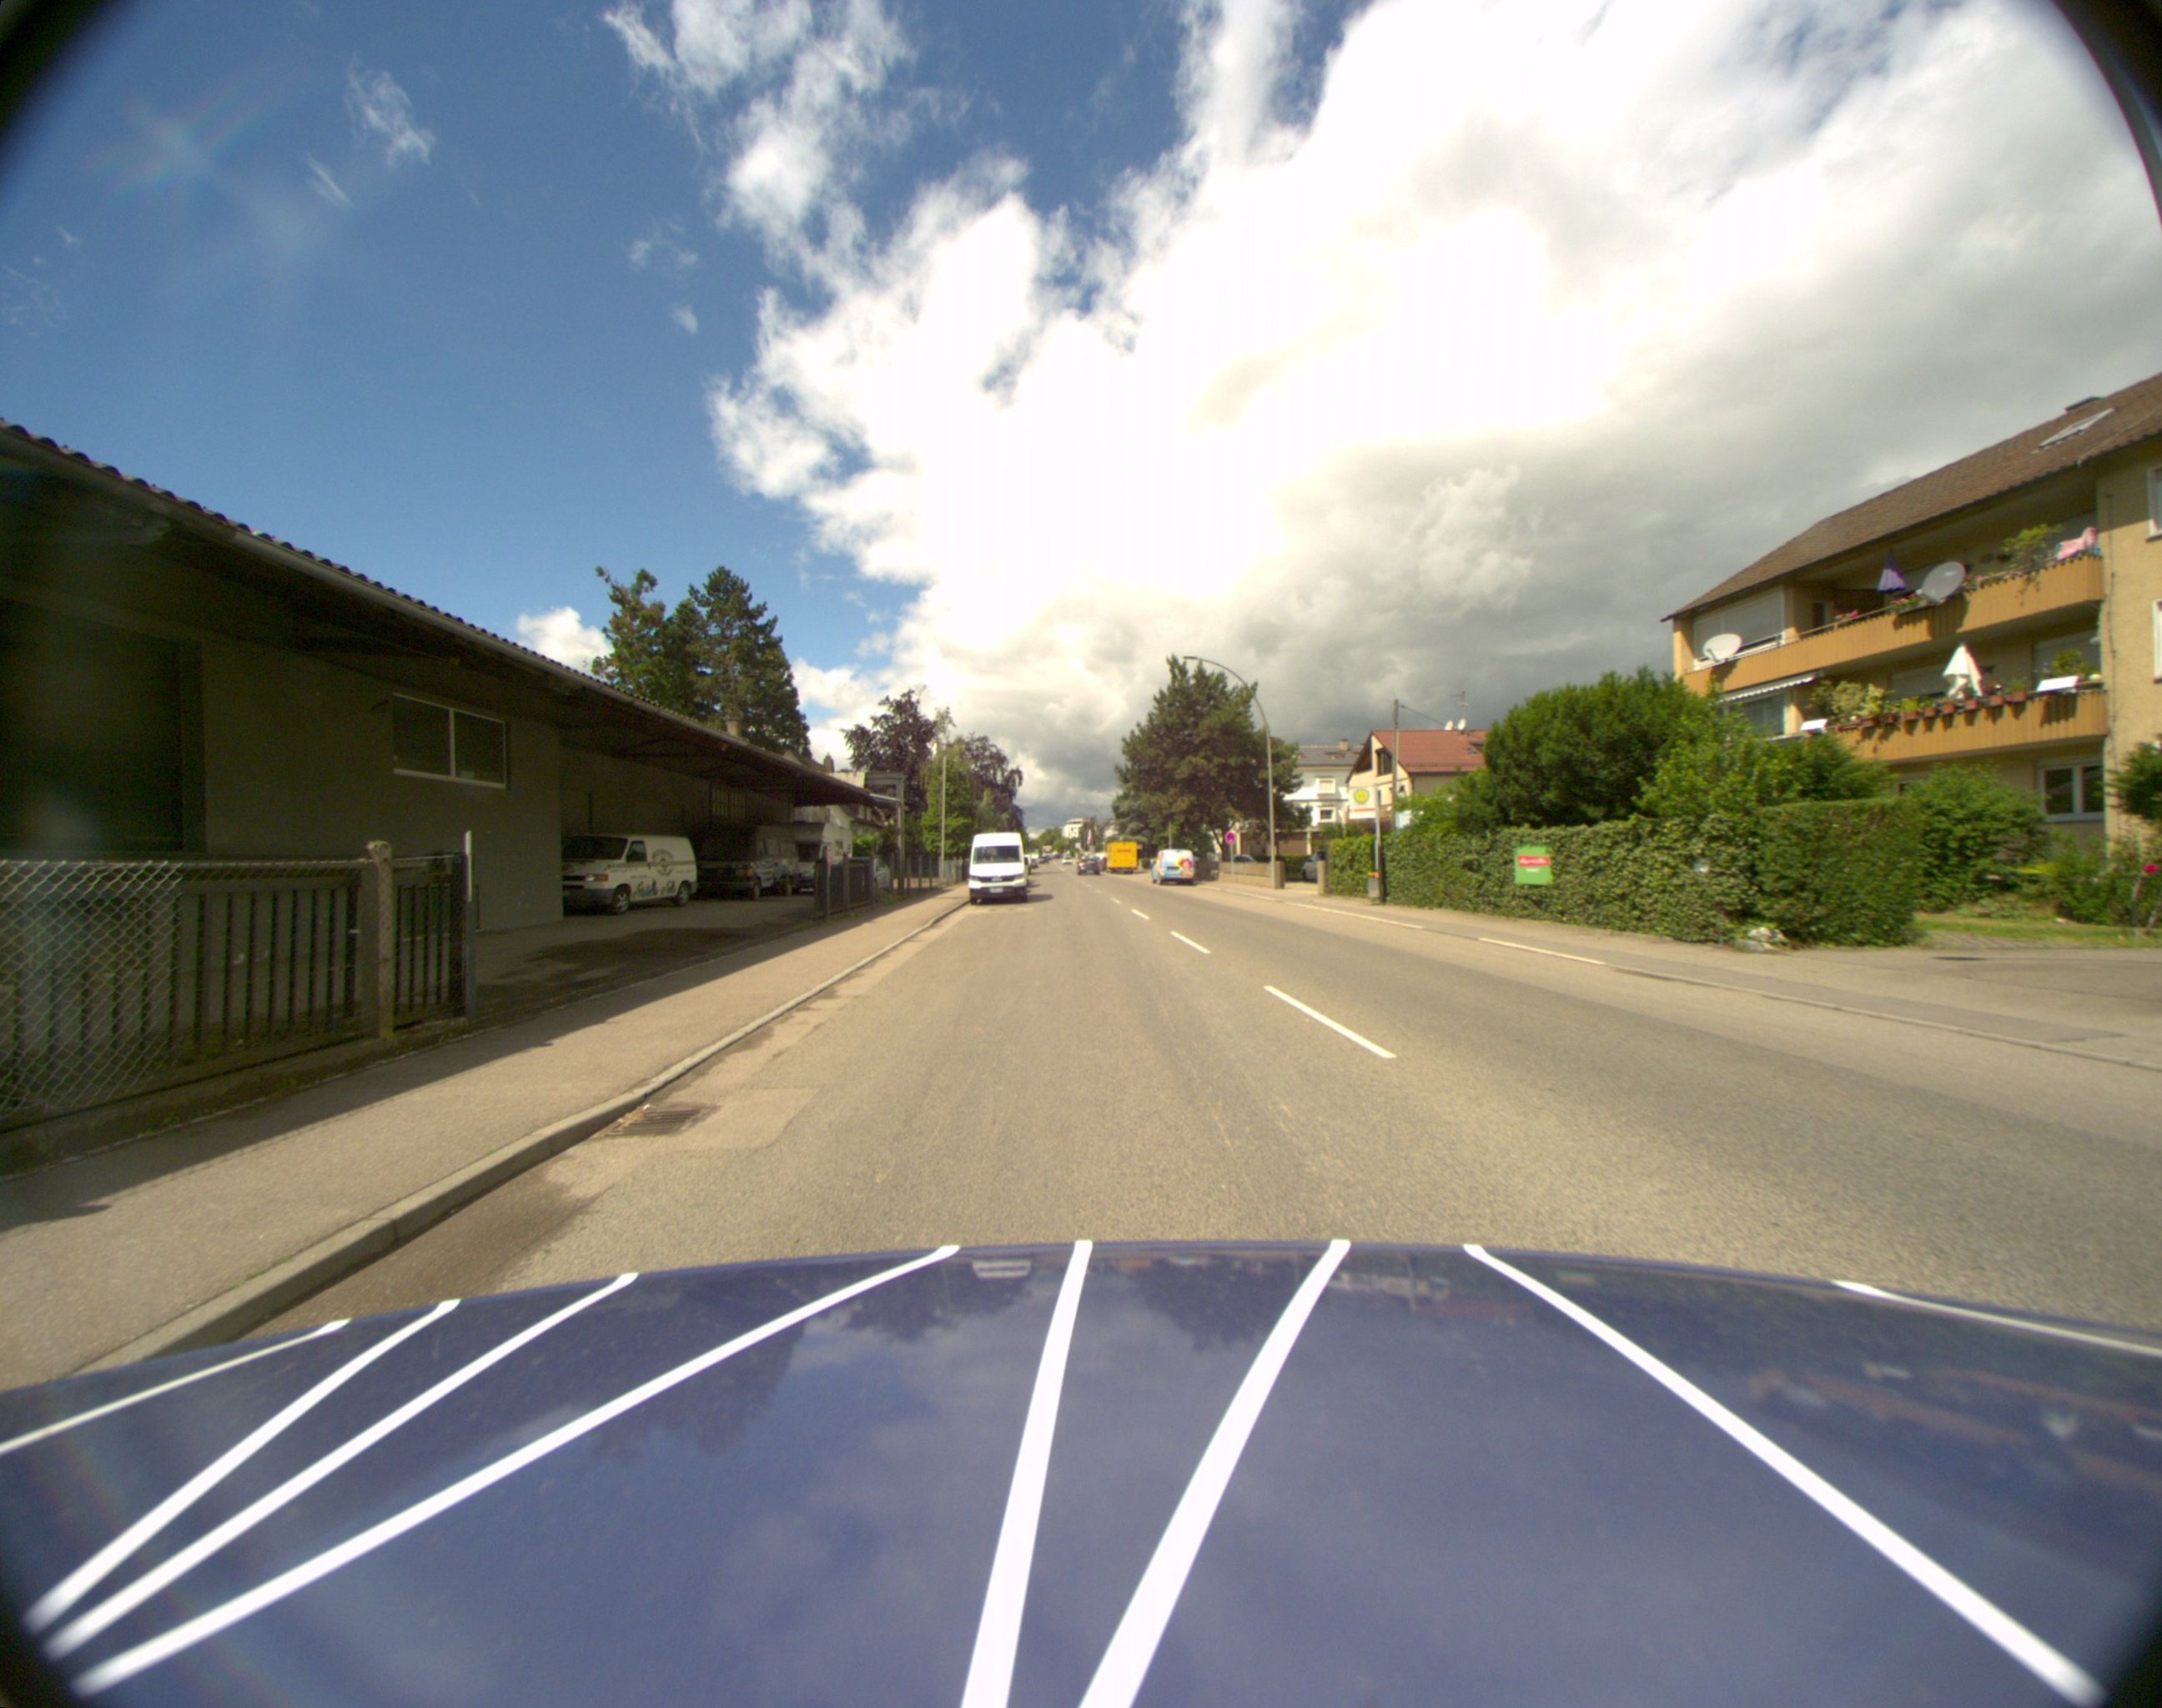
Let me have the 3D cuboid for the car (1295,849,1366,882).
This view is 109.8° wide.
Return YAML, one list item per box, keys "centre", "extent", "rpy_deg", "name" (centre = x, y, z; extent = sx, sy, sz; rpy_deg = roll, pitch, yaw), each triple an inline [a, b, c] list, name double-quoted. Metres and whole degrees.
- centre: [14.341, 0.611, 44.098]
  extent: [2.085, 1.820, 5.477]
  rpy_deg: [0, 0, -3]
  name: "car"

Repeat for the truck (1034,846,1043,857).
- centre: [-11.896, -0.688, 213.655]
  extent: [2.411, 2.722, 6.638]
  rpy_deg: [-3, 1, -3]
  name: "truck"

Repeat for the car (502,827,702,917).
- centre: [-11.493, 0.410, 18.748]
  extent: [1.999, 1.898, 4.852]
  rpy_deg: [-1, 0, -3]
  name: "car"

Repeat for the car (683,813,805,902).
- centre: [-11.178, 0.160, 25.704]
  extent: [2.023, 2.665, 5.496]
  rpy_deg: [-1, -1, -4]
  name: "car"

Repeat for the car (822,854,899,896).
- centre: [-8.479, 0.781, 29.674]
  extent: [1.769, 1.480, 4.925]
  rpy_deg: [-1, 0, -3]
  name: "car"

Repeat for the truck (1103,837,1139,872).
- centre: [3.636, 0.025, 70.779]
  extent: [2.330, 2.986, 7.815]
  rpy_deg: [1, 0, -4]
  name: "truck"

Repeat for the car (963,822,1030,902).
- centre: [-3.035, 0.248, 28.751]
  extent: [2.221, 2.673, 6.655]
  rpy_deg: [0, 0, -4]
  name: "car"

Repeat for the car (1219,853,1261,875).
- centre: [11.510, 0.683, 55.126]
  extent: [1.772, 1.534, 4.085]
  rpy_deg: [-1, 0, -6]
  name: "car"

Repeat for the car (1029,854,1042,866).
- centre: [-6.933, 0.896, 115.672]
  extent: [1.812, 1.566, 4.187]
  rpy_deg: [-3, 0, -2]
  name: "car"

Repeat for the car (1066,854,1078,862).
- centre: [-1.632, 0.702, 137.373]
  extent: [1.988, 1.412, 3.998]
  rpy_deg: [0, 0, -5]
  name: "car"

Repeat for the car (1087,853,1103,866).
- centre: [1.903, 0.720, 102.694]
  extent: [1.809, 1.666, 4.126]
  rpy_deg: [1, 0, -3]
  name: "car"

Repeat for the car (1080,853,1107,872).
- centre: [0.965, 0.672, 62.543]
  extent: [1.906, 1.509, 4.317]
  rpy_deg: [0, 0, -4]
  name: "car"

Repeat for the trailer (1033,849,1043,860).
- centre: [-9.215, 0.142, 162.118]
  extent: [2.045, 2.214, 5.077]
  rpy_deg: [0, 0, -2]
  name: "trailer"

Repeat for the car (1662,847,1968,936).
- centre: [13.413, 0.593, 14.349]
  extent: [1.849, 1.418, 4.332]
  rpy_deg: [-1, 0, 5]
  name: "car"

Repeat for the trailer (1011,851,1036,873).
- centre: [-5.045, 0.687, 67.653]
  extent: [1.999, 1.812, 4.763]
  rpy_deg: [-3, 0, -3]
  name: "trailer"

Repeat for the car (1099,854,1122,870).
- centre: [3.020, 0.801, 78.468]
  extent: [1.999, 1.445, 4.810]
  rpy_deg: [3, 0, -2]
  name: "car"

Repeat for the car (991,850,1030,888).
- centre: [-3.784, 0.762, 41.565]
  extent: [1.910, 1.874, 5.387]
  rpy_deg: [-3, 0, -4]
  name: "car"

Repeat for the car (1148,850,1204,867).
- centre: [9.168, 0.431, 73.388]
  extent: [5.022, 1.543, 1.971]
  rpy_deg: [-1, 1, -4]
  name: "car"

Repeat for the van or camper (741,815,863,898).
- centre: [-11.345, 0.088, 31.644]
  extent: [2.889, 3.043, 6.910]
  rpy_deg: [-1, 0, -4]
  name: "van or camper"

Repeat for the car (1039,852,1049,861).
- centre: [-7.595, 0.549, 156.067]
  extent: [1.999, 1.802, 3.999]
  rpy_deg: [-1, 0, -3]
  name: "car"

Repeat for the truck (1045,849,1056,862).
- centre: [-8.538, 0.448, 210.225]
  extent: [2.881, 3.290, 8.604]
  rpy_deg: [-3, 1, -3]
  name: "truck"

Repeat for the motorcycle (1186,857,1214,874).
- centre: [8.434, 0.790, 53.836]
  extent: [1.873, 1.159, 0.825]
  rpy_deg: [-1, 0, 14]
  name: "motorcycle"

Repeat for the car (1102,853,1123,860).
- centre: [6.153, 0.511, 149.422]
  extent: [4.047, 1.485, 1.675]
  rpy_deg: [0, 0, -4]
  name: "car"

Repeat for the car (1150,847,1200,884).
- centre: [4.990, 0.616, 41.020]
  extent: [1.838, 1.842, 4.894]
  rpy_deg: [2, -1, -3]
  name: "car"
